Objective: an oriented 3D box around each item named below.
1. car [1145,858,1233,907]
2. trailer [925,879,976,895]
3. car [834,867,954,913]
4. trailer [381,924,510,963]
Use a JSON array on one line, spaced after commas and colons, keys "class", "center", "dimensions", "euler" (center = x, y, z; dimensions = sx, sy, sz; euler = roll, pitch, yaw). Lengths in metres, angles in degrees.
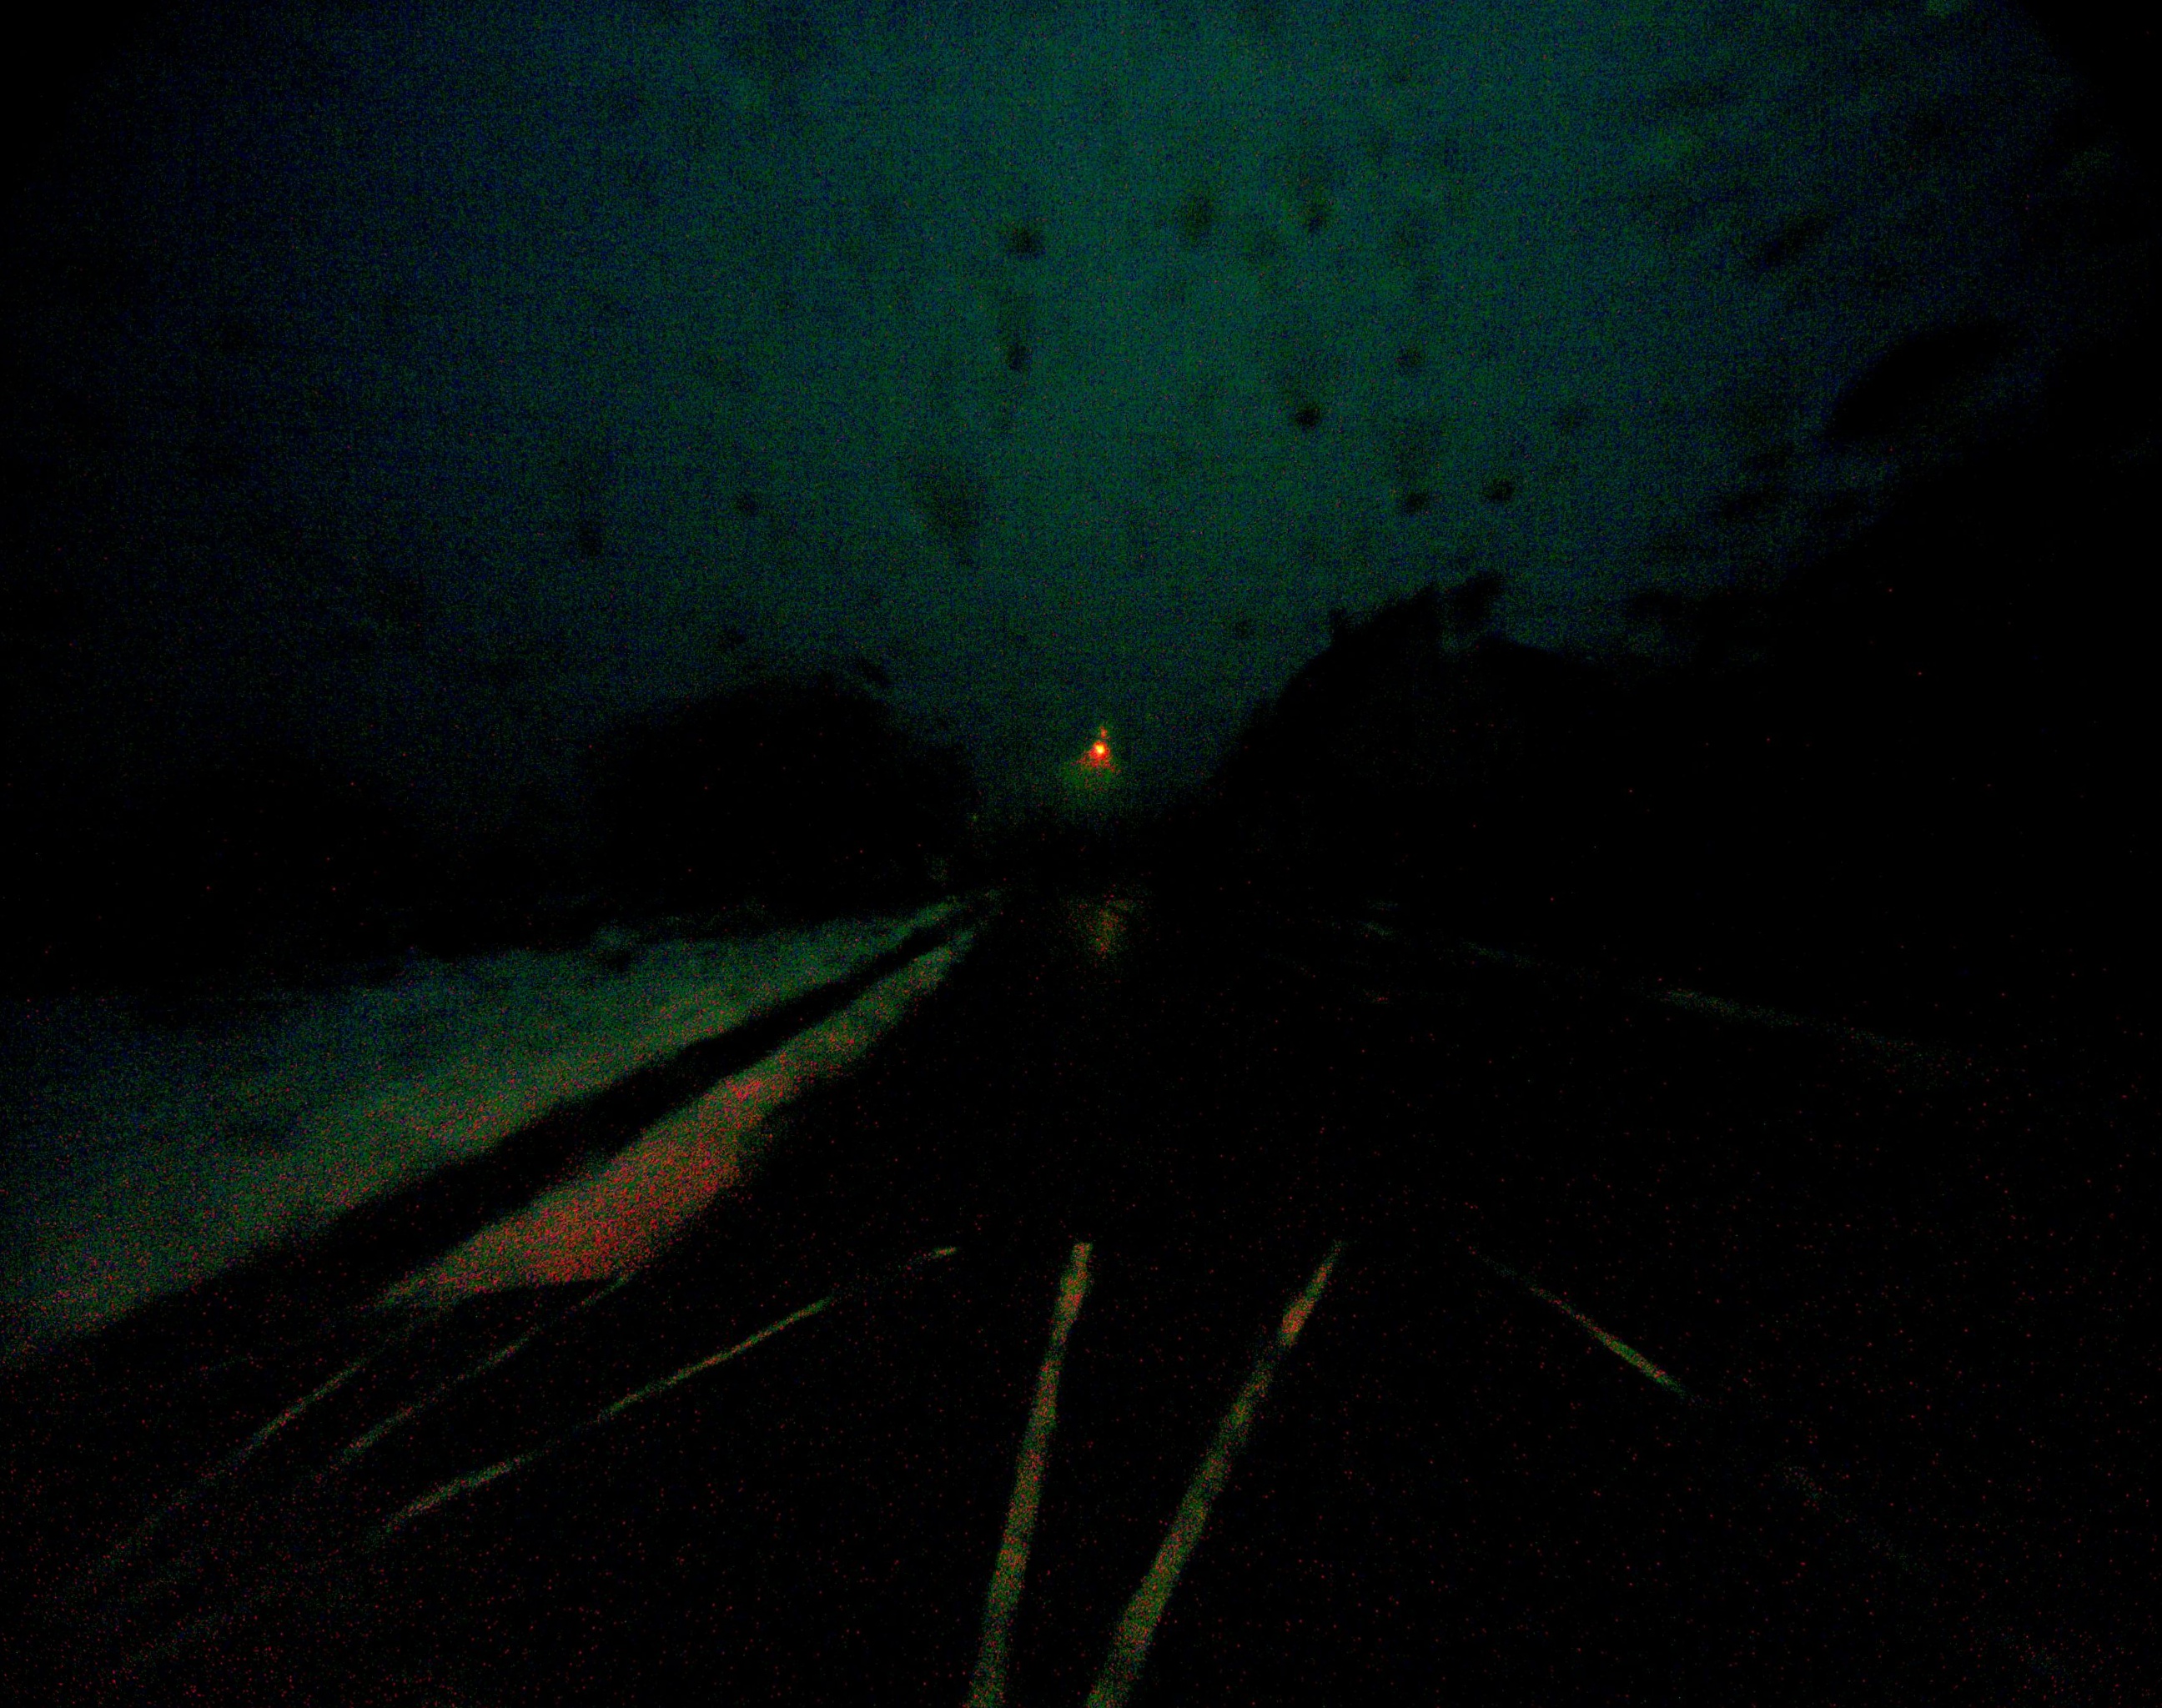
[{"class": "car", "center": [3.638, 0.938, 26.633], "dimensions": [1.882, 1.417, 5.391], "euler": [-3, -1, -4]}, {"class": "trailer", "center": [-7.952, 1.985, 46.011], "dimensions": [1.552, 0.940, 3.991], "euler": [0, -2, -34]}, {"class": "car", "center": [-7.770, 1.479, 31.915], "dimensions": [4.462, 1.373, 2.035], "euler": [-7, 0, -3]}, {"class": "trailer", "center": [-21.023, 2.931, 25.334], "dimensions": [1.850, 0.940, 3.659], "euler": [-1, -1, -13]}]
